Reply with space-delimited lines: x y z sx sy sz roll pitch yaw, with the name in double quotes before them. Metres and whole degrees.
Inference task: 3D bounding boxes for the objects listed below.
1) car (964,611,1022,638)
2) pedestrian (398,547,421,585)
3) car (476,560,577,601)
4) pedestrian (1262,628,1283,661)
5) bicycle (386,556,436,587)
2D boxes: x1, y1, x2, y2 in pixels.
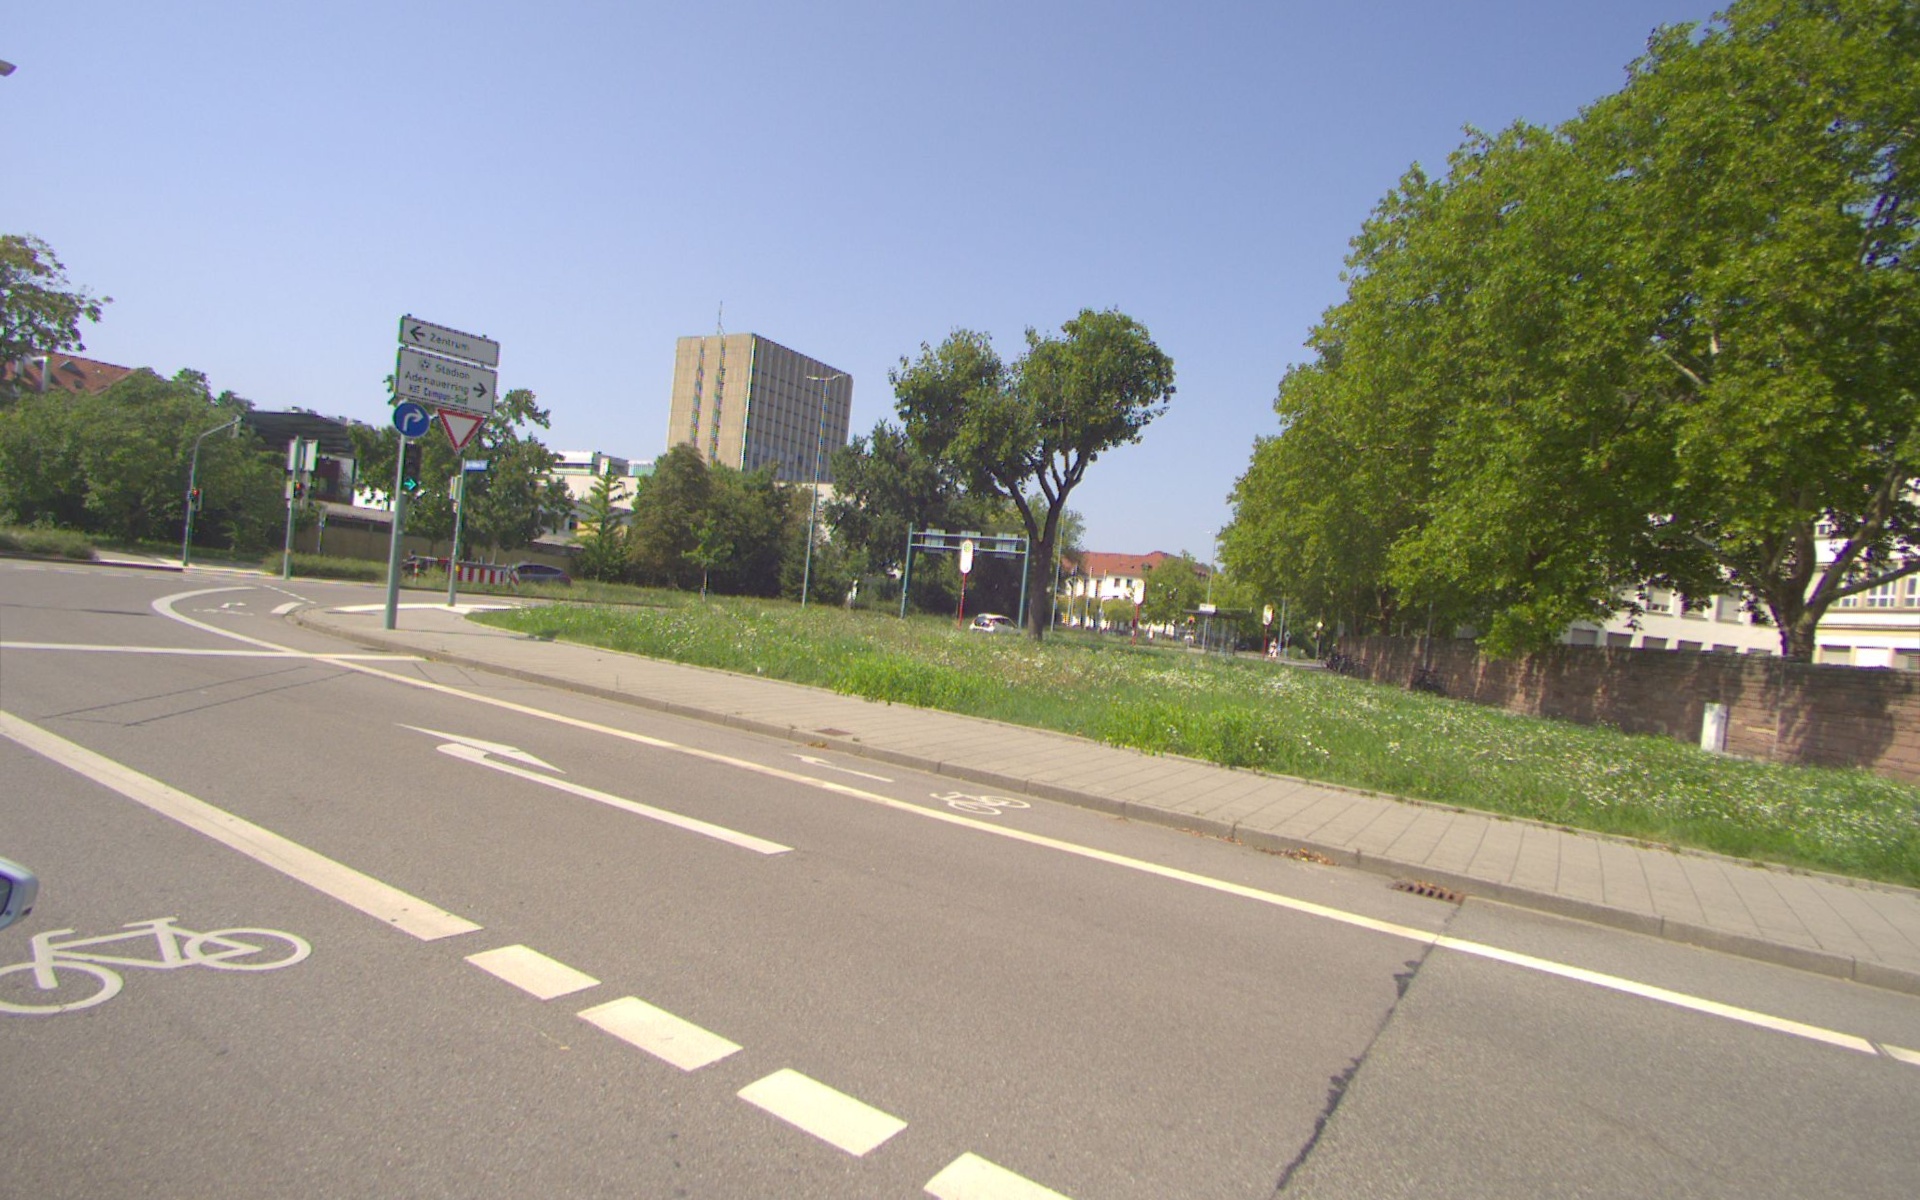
"car" 1.826 1.365 55.385 1.566 1.151 3.252 7 0 35
"pedestrian" -25.443 -1.570 46.487 0.769 1.690 0.547 6 1 36
"car" -18.090 -0.803 42.102 1.764 1.374 3.413 4 -1 35
"pedestrian" 20.878 2.957 67.163 1.052 2.039 1.235 6 1 13
"bicycle" -25.415 -1.328 46.571 0.774 1.228 1.783 6 0 36
